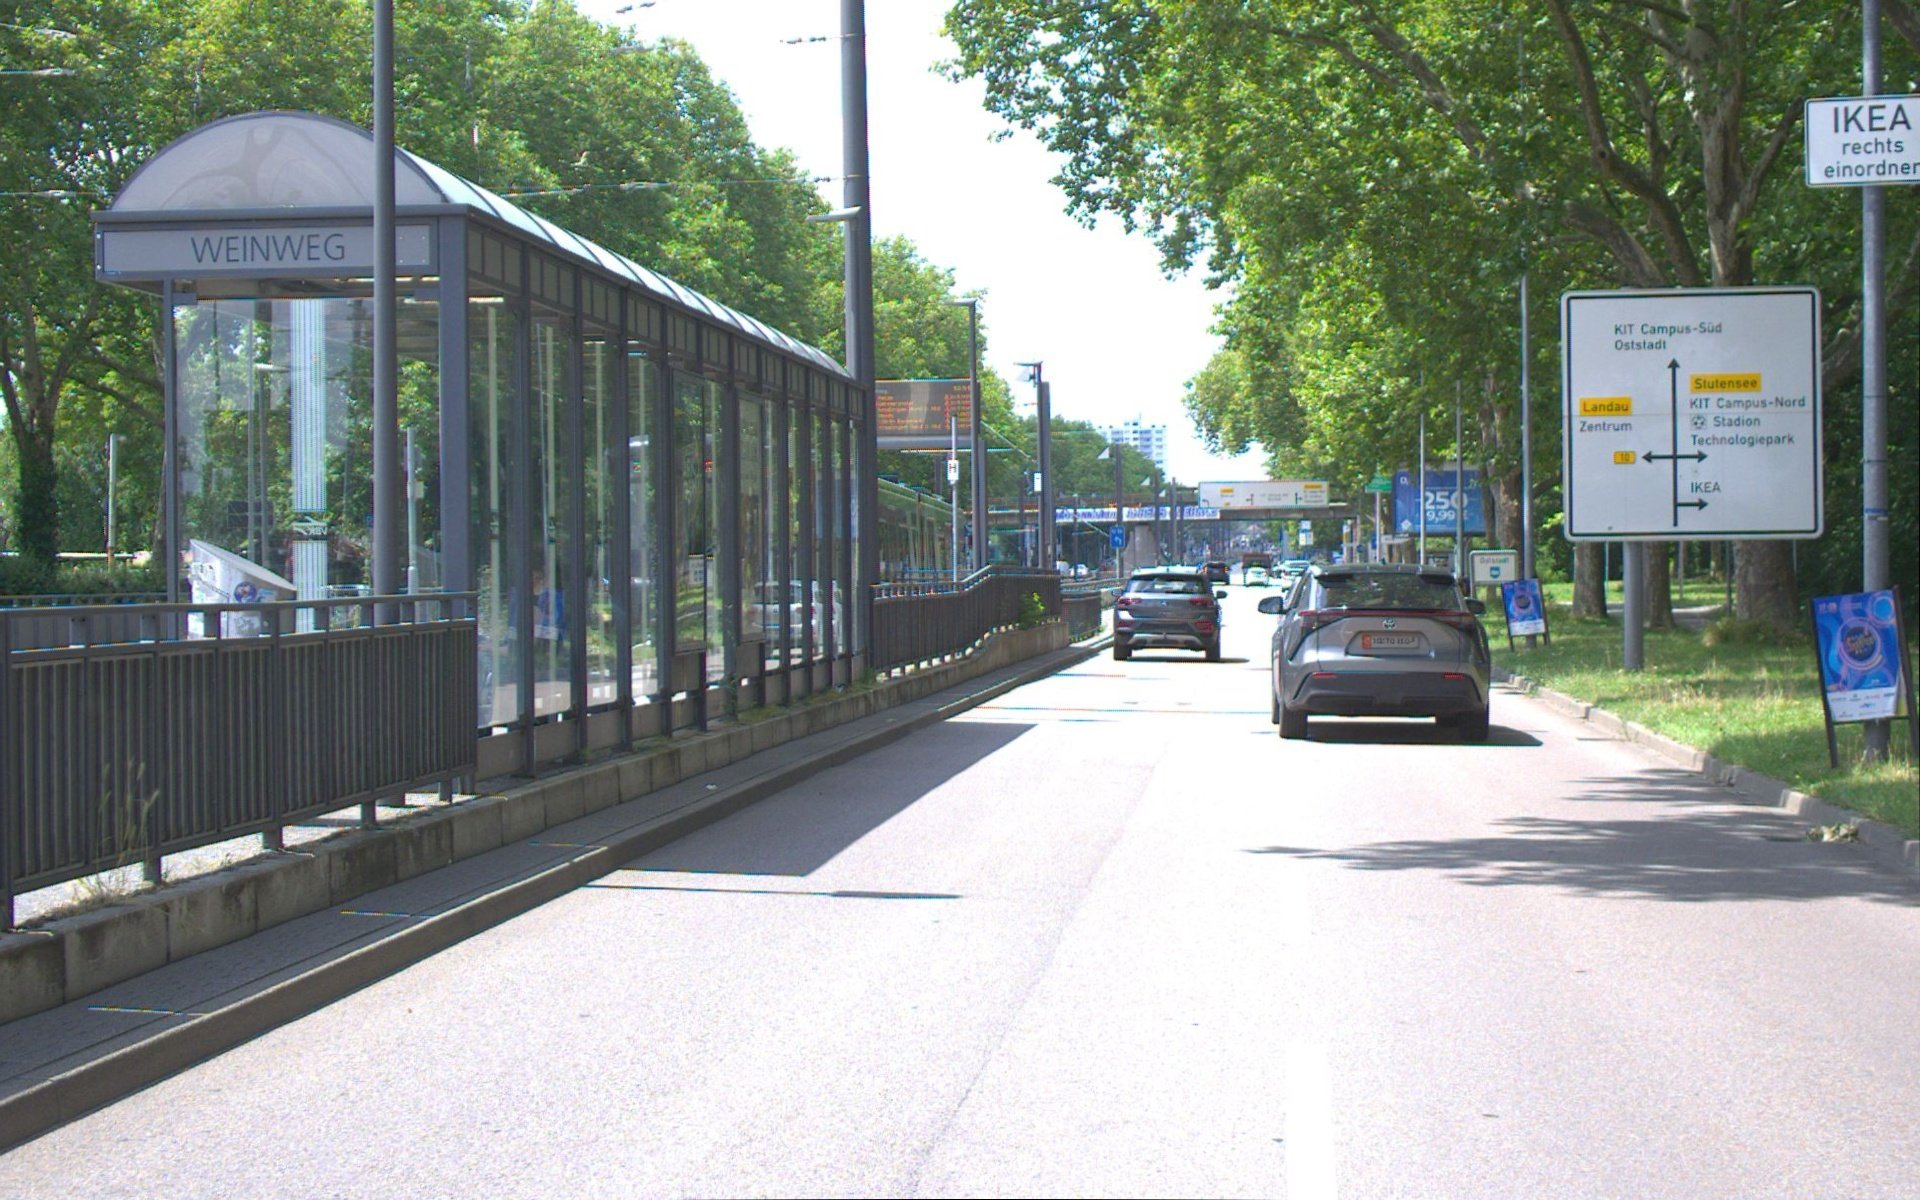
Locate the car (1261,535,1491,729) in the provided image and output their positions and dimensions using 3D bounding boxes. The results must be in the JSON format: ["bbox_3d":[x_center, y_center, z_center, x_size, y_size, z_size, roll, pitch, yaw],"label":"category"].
[{"bbox_3d":[3.797,0.285,32.052,1.898,1.669,4.519,0,0,4],"label":"car"}]

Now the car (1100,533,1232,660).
[{"bbox_3d":[3.550,-0.095,58.636,1.994,1.982,4.362,2,2,6],"label":"car"}]

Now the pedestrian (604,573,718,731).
[{"bbox_3d":[-2.313,0.398,26.662,0.786,1.205,0.699,0,0,3],"label":"pedestrian"}]

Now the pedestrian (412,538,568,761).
[{"bbox_3d":[-2.567,0.262,18.839,0.693,1.186,0.642,1,0,6],"label":"pedestrian"}]

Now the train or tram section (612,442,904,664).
[{"bbox_3d":[-3.017,-0.717,56.418,3.037,3.175,14.099,0,0,4],"label":"train or tram section"}]

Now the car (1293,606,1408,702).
[{"bbox_3d":[6.949,0.936,61.465,1.832,1.624,4.295,0,0,4],"label":"car"}]
